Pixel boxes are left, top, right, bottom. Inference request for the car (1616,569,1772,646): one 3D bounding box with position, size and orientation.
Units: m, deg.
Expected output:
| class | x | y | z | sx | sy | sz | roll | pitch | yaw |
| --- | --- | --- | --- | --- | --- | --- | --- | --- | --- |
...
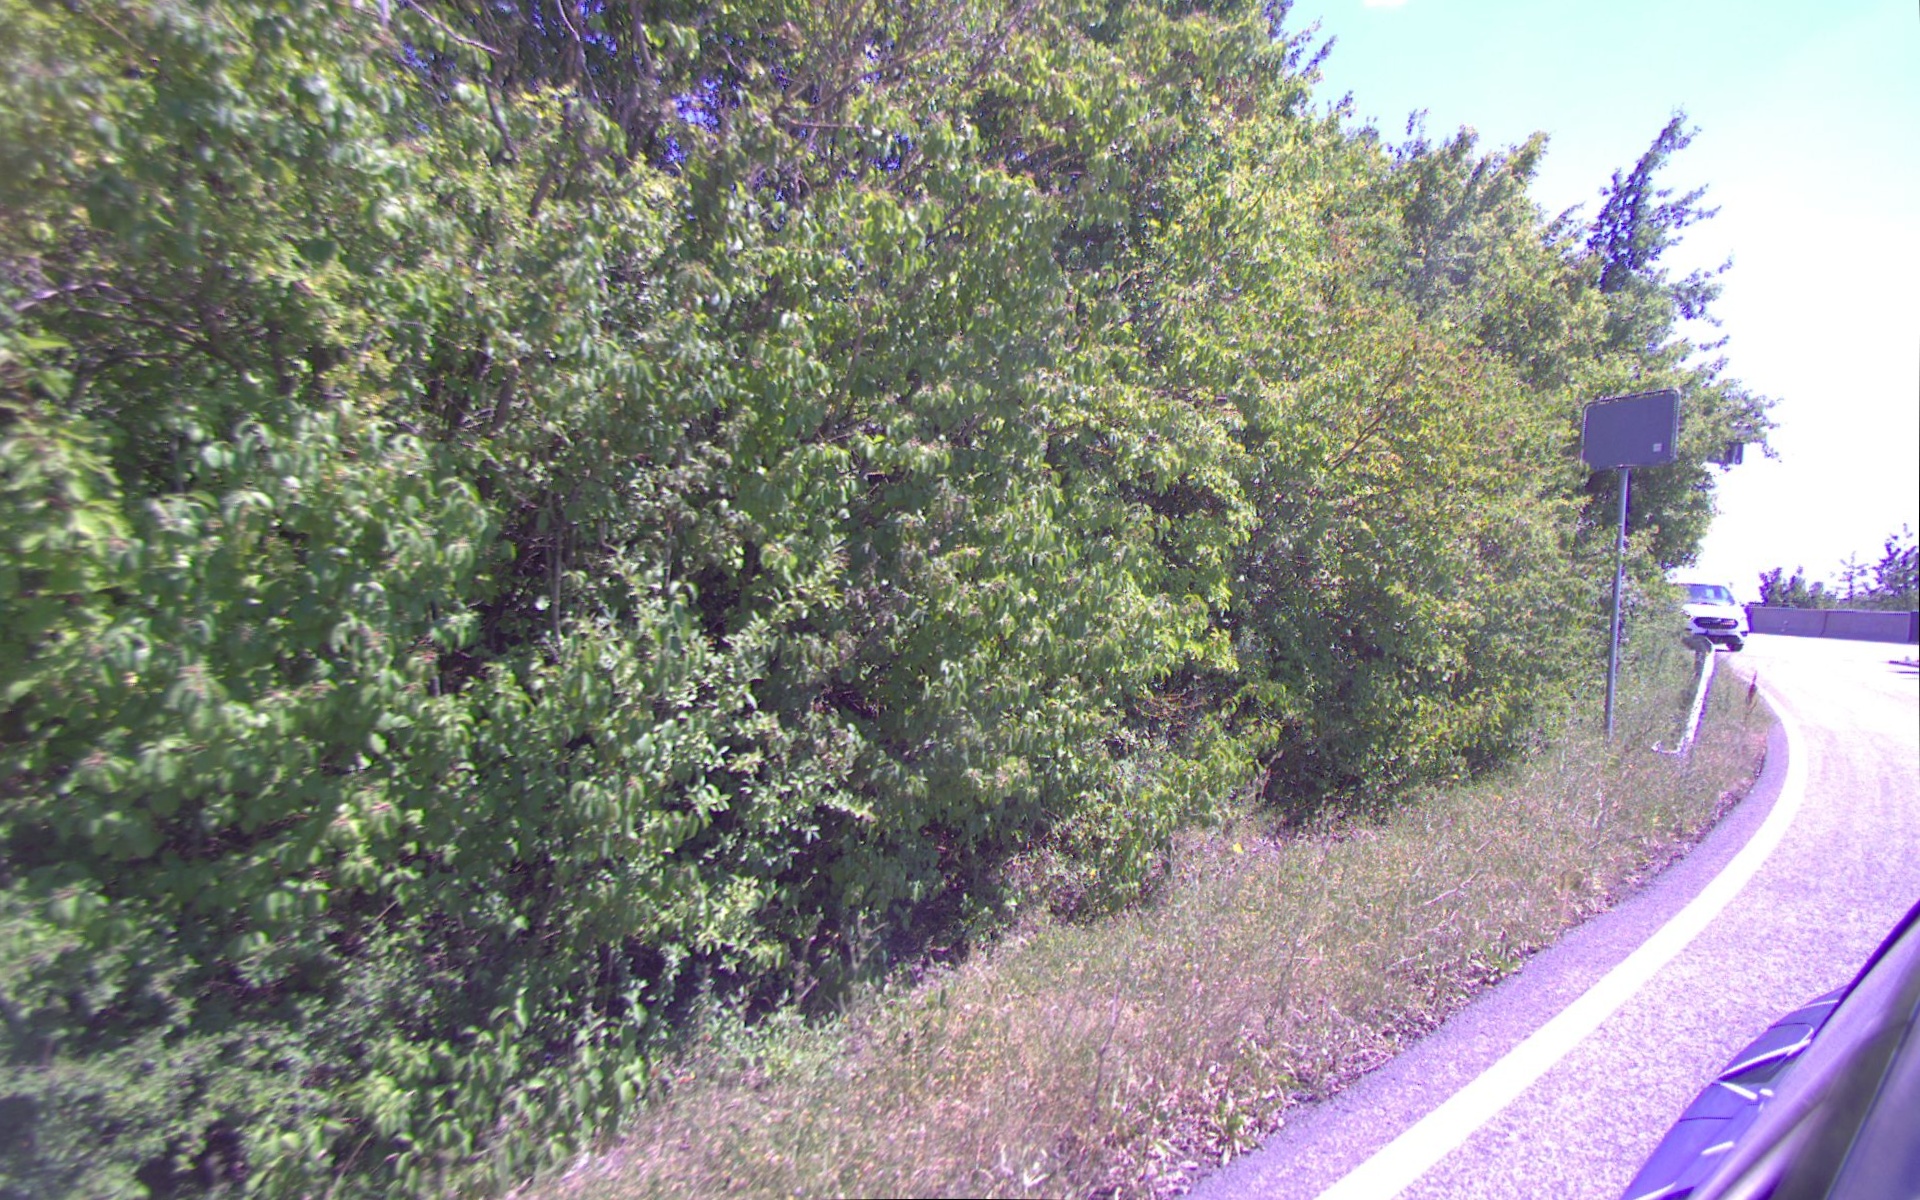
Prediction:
| class | x | y | z | sx | sy | sz | roll | pitch | yaw |
| --- | --- | --- | --- | --- | --- | --- | --- | --- | --- |
| car | 22.091 | 0.166 | 30.779 | 2.004 | 2.111 | 5.841 | 1 | 1 | 17 |
